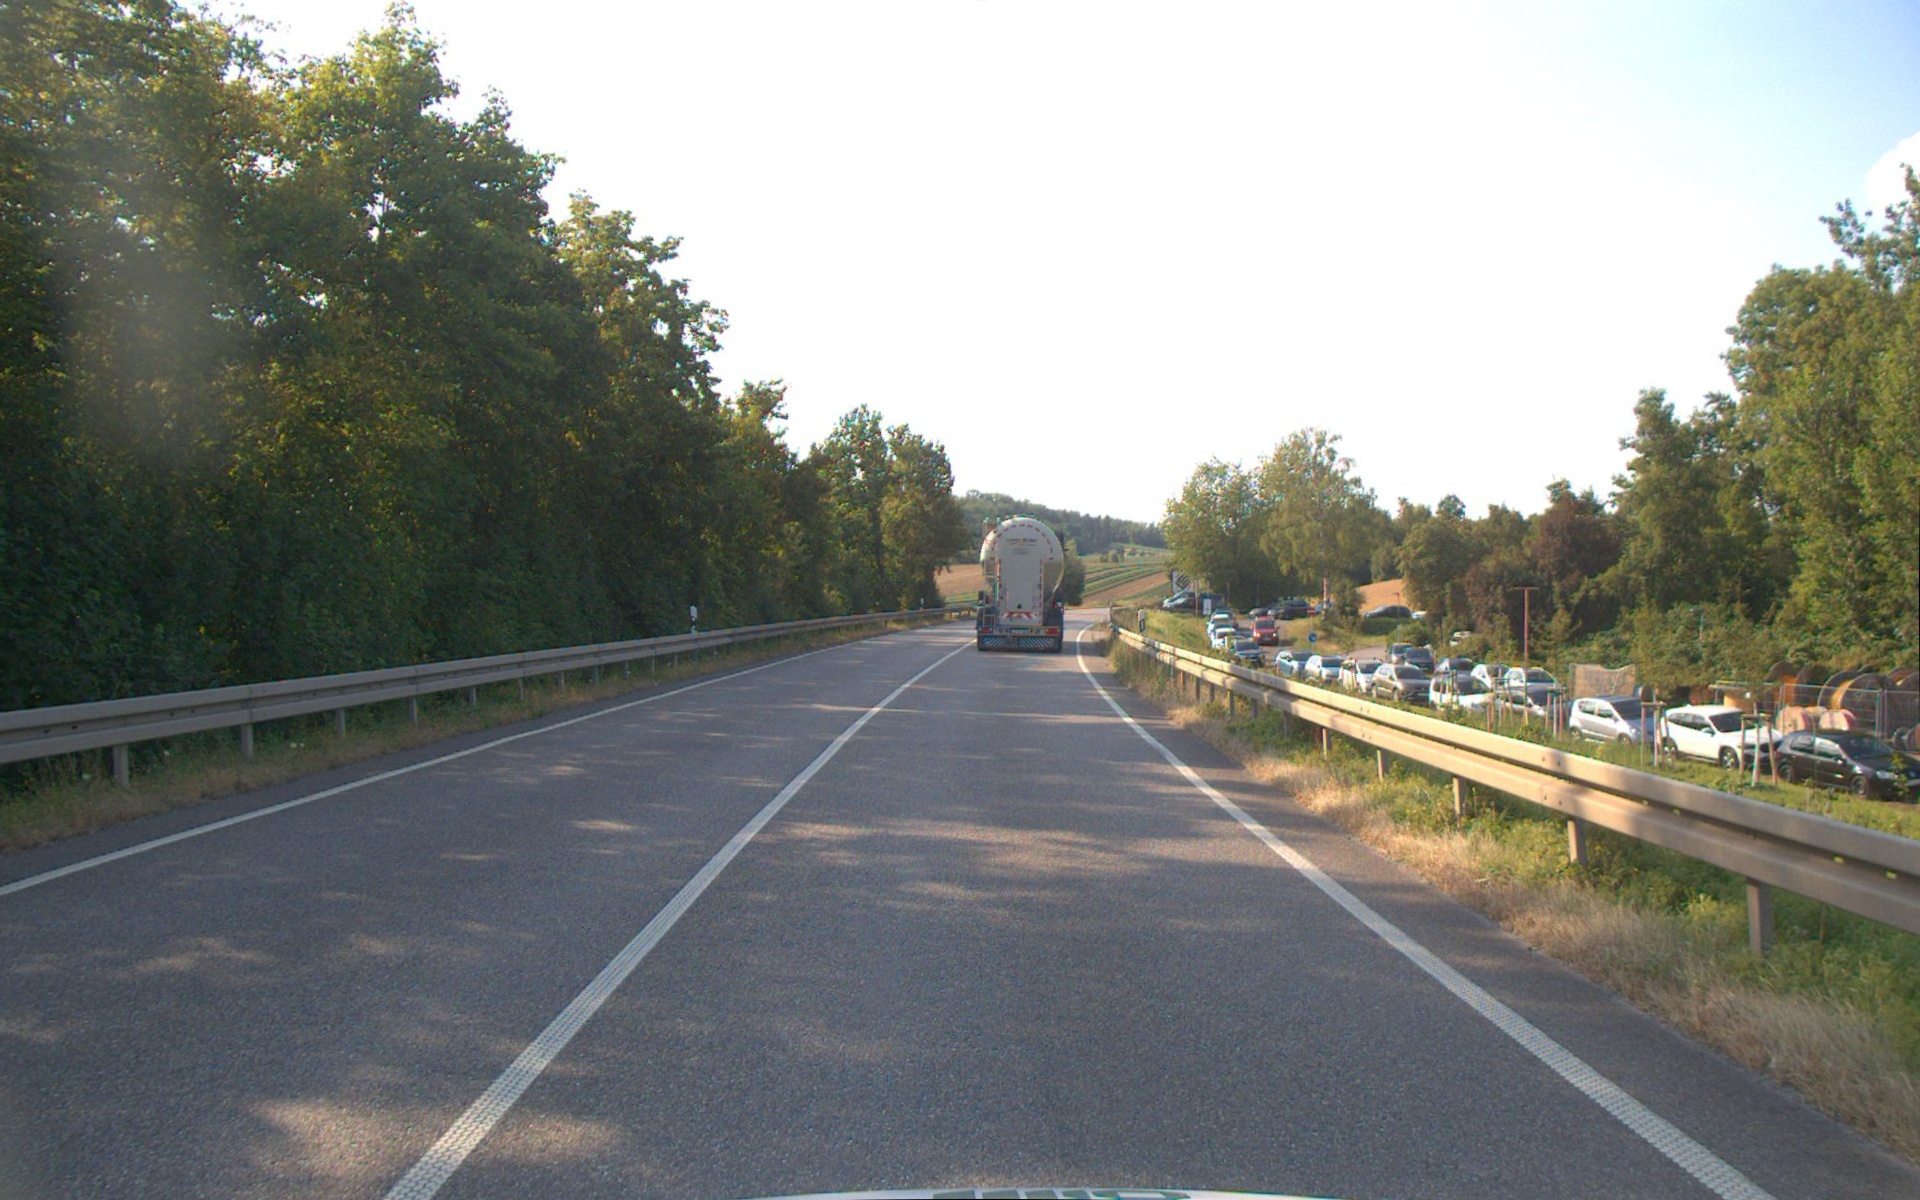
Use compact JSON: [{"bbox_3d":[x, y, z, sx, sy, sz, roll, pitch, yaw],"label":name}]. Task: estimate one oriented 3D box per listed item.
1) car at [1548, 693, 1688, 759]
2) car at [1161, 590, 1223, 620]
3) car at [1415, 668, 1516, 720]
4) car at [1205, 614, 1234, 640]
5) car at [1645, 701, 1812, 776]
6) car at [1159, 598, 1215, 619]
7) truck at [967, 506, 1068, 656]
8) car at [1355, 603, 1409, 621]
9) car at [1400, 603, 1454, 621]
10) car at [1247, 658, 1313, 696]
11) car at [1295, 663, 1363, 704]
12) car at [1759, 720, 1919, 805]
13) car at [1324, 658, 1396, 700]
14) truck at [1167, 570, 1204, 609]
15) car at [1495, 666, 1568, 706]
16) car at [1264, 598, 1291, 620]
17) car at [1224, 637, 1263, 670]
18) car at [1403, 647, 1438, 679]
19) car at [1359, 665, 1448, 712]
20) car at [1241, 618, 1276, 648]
[{"bbox_3d":[21.525,4.089,54.340,1.860,1.586,4.766,-3,2,-13],"label":"car"},{"bbox_3d":[19.815,0.391,141.022,5.032,1.976,1.977,6,2,9],"label":"car"},{"bbox_3d":[20.204,3.723,66.358,1.858,1.586,4.771,-3,2,-10],"label":"car"},{"bbox_3d":[19.347,1.973,123.055,1.851,1.586,4.788,-3,2,12],"label":"car"},{"bbox_3d":[22.529,4.020,48.706,1.860,1.586,4.766,-3,2,-13],"label":"car"},{"bbox_3d":[18.863,0.703,137.240,4.244,1.423,1.713,4,1,-18],"label":"car"},{"bbox_3d":[1.683,-0.550,53.645,2.833,4.215,13.172,1,0,0],"label":"truck"},{"bbox_3d":[37.965,1.064,148.779,4.570,1.533,1.984,1,0,-26],"label":"car"},{"bbox_3d":[42.667,1.114,151.094,4.570,1.533,1.984,1,0,-26],"label":"car"},{"bbox_3d":[17.168,4.113,89.048,1.858,1.586,4.771,-3,2,-10],"label":"car"},{"bbox_3d":[18.482,4.165,83.044,1.855,1.586,4.777,-3,2,-6],"label":"car"},{"bbox_3d":[23.188,4.145,42.855,1.860,1.508,4.766,-3,2,-13],"label":"car"},{"bbox_3d":[18.838,3.697,78.060,1.855,1.586,4.778,1,1,-5],"label":"car"},{"bbox_3d":[25.660,-1.244,187.518,3.115,4.301,13.184,0,1,13],"label":"truck"},{"bbox_3d":[25.064,3.769,72.687,1.667,1.536,3.942,0,0,-3],"label":"car"},{"bbox_3d":[26.640,0.801,138.954,1.852,1.704,4.785,1,-1,7],"label":"car"},{"bbox_3d":[17.275,3.236,100.845,1.852,1.586,4.786,-3,2,5],"label":"car"},{"bbox_3d":[25.260,3.432,90.796,1.665,1.423,4.789,-3,0,14],"label":"car"},{"bbox_3d":[19.349,3.833,72.378,1.858,1.586,4.771,-3,2,-10],"label":"car"},{"bbox_3d":[21.129,2.325,117.083,1.852,1.716,5.090,-3,2,5],"label":"car"}]
